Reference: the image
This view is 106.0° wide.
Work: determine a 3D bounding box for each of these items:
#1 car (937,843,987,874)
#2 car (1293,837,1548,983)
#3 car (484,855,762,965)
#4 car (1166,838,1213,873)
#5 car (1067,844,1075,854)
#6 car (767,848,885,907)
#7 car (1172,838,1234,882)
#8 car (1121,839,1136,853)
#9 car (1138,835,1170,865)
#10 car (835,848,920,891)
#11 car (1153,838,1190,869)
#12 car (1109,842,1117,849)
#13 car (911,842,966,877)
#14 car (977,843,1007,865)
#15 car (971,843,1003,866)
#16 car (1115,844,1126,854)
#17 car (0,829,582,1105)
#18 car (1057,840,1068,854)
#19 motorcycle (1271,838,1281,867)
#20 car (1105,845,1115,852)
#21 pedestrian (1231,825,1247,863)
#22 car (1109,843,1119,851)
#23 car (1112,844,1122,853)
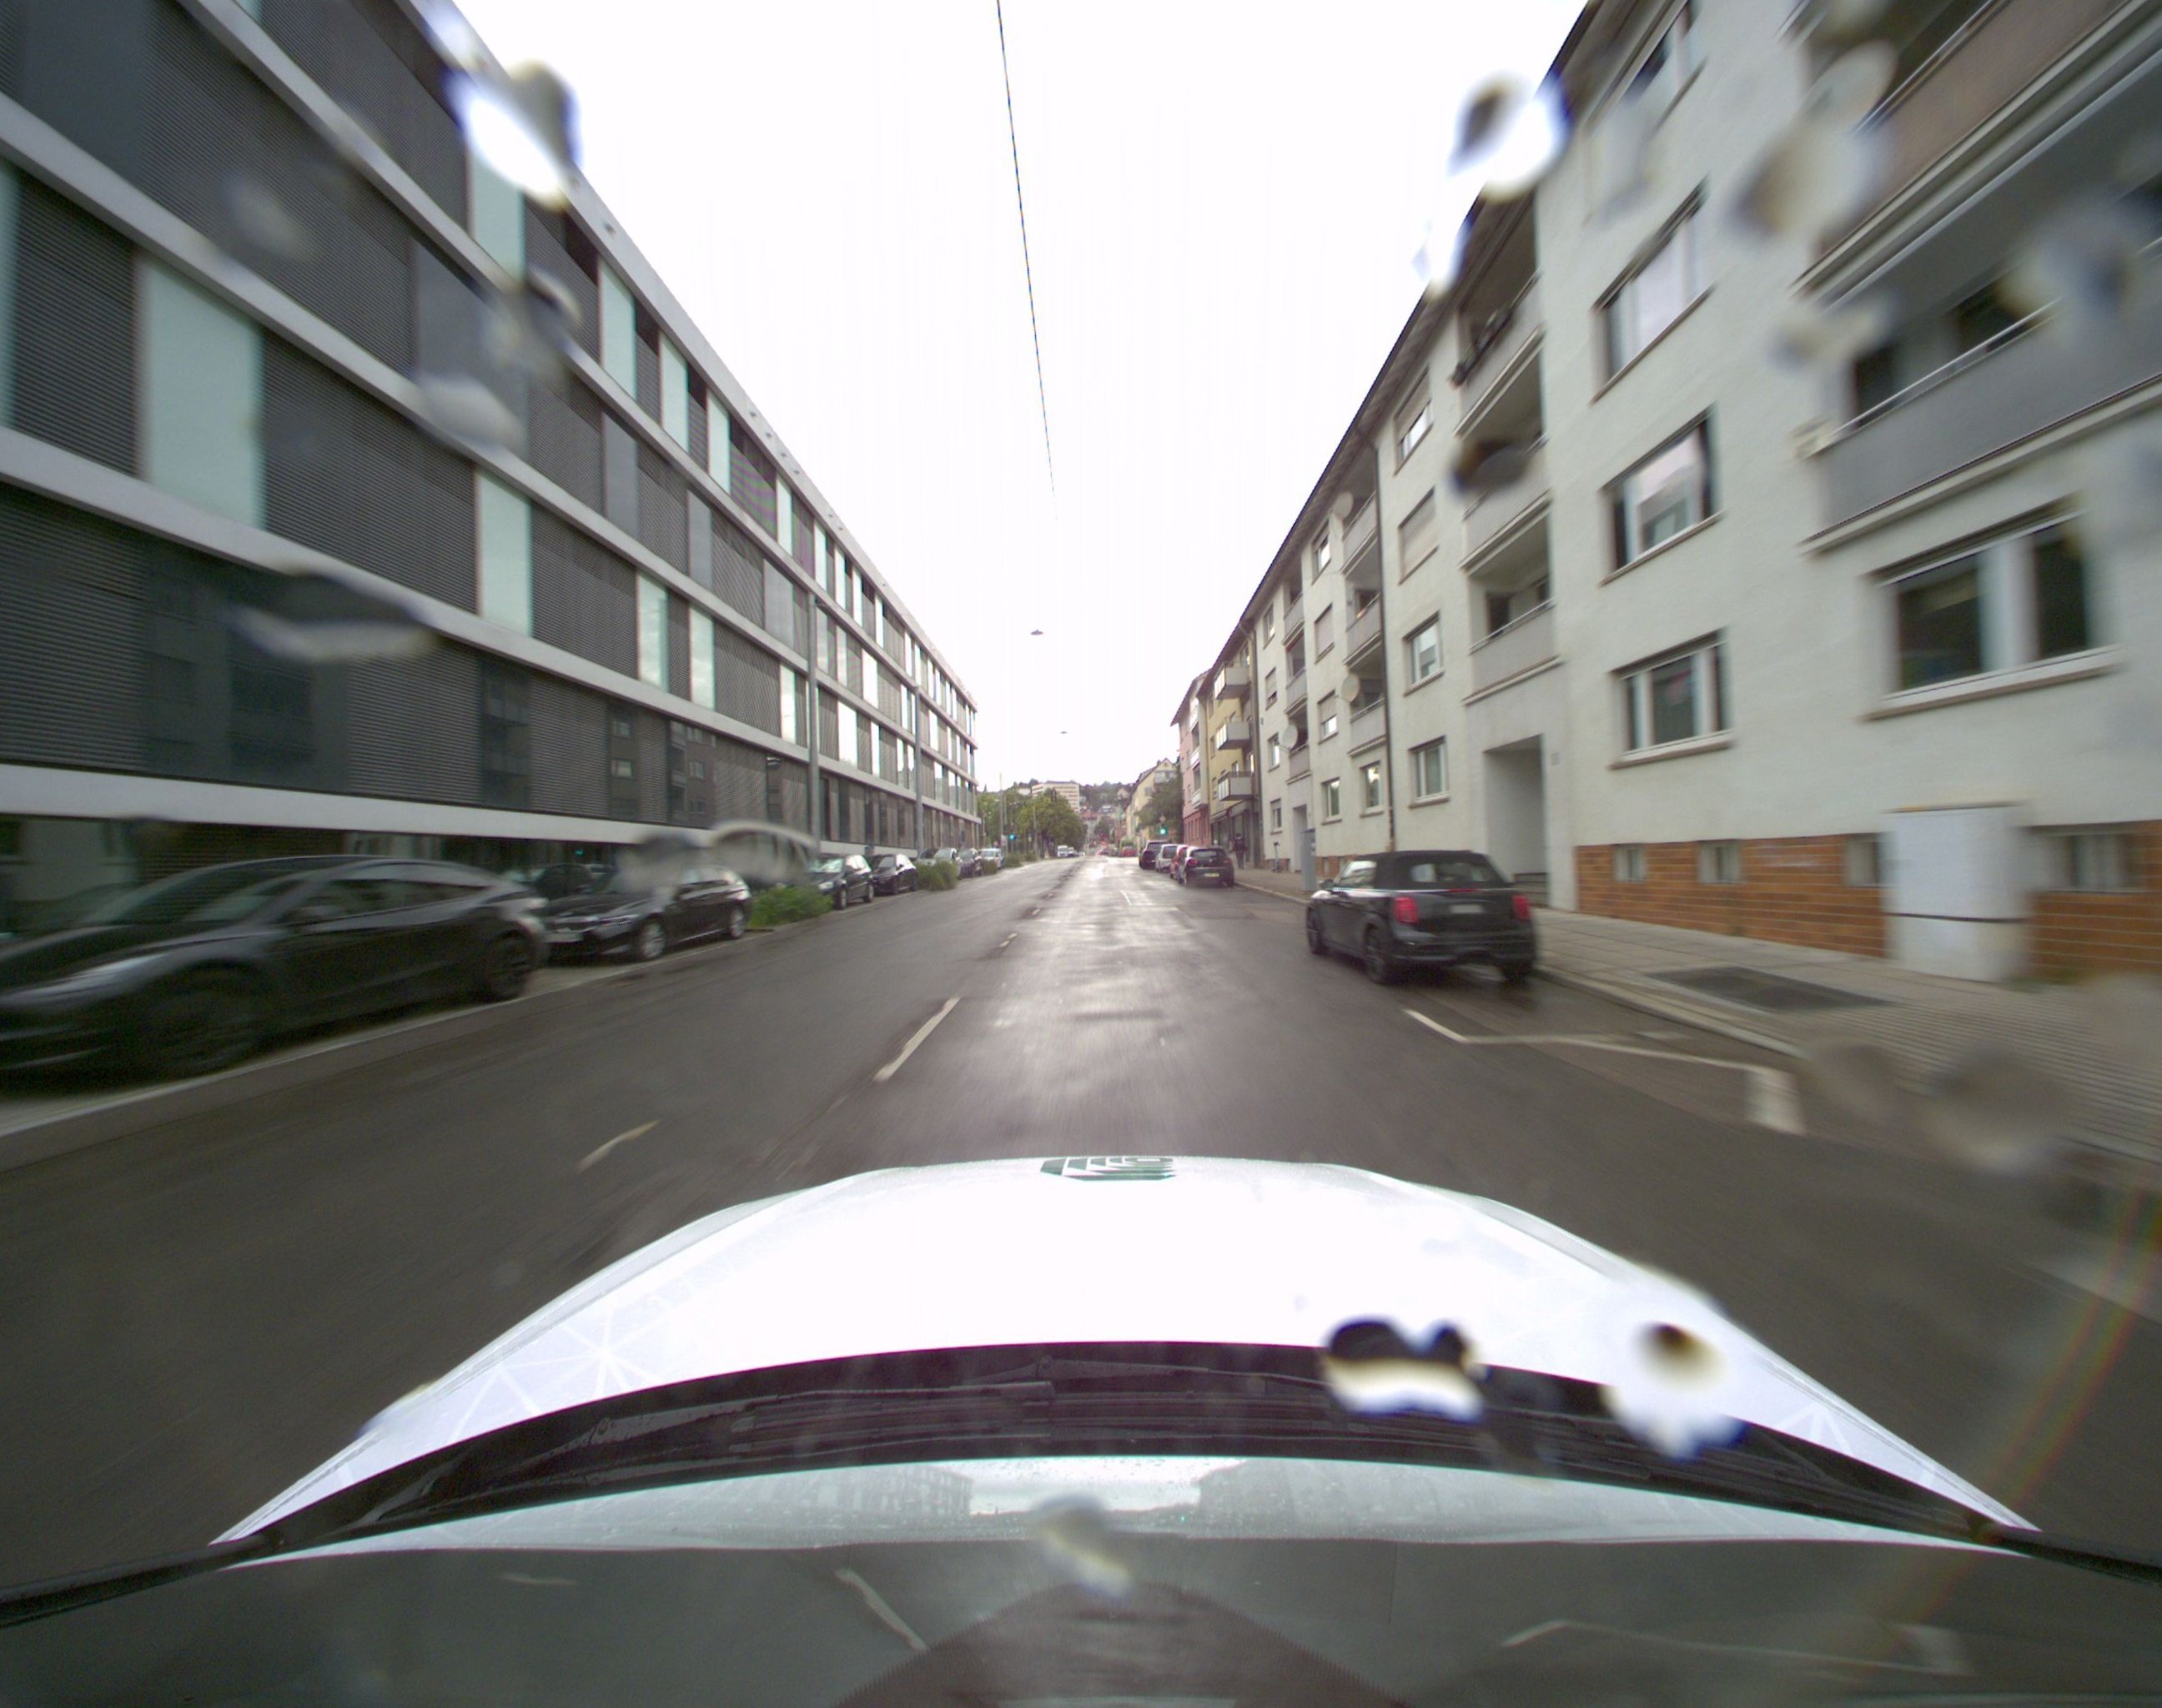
[{"bbox_3d":[-6.519,0.264,45.010,1.793,1.604,4.238,-1,0,4],"label":"car"},{"bbox_3d":[3.990,0.539,10.280,1.667,1.459,3.765,-2,1,0],"label":"car"},{"bbox_3d":[-7.260,0.775,13.630,1.864,1.472,4.742,-1,0,1],"label":"car"},{"bbox_3d":[4.653,0.056,35.250,1.577,1.413,3.654,-1,0,1],"label":"car"},{"bbox_3d":[-2.445,-1.190,196.677,1.862,2.141,4.354,-1,0,-3],"label":"car"},{"bbox_3d":[-7.043,0.591,22.977,1.856,1.489,4.348,-1,0,1],"label":"car"},{"bbox_3d":[4.409,0.197,29.899,1.700,1.454,3.985,-1,0,1],"label":"car"},{"bbox_3d":[5.976,-0.983,102.096,1.858,1.770,4.194,-1,0,4],"label":"car"},{"bbox_3d":[4.473,-0.267,50.251,1.649,1.737,4.180,-2,1,1],"label":"car"},{"bbox_3d":[-7.220,0.493,29.326,1.831,1.396,4.393,-1,0,1],"label":"car"},{"bbox_3d":[4.854,-0.031,43.917,1.629,1.571,3.711,-1,0,1],"label":"car"},{"bbox_3d":[7.516,-2.032,191.241,1.858,1.604,4.194,-1,0,4],"label":"car"},{"bbox_3d":[-6.721,0.235,38.924,1.765,1.534,4.317,-1,1,1],"label":"car"},{"bbox_3d":[-6.676,-0.033,61.254,1.861,1.525,4.195,-1,1,-1],"label":"car"},{"bbox_3d":[-6.422,0.019,55.927,1.589,1.459,3.721,-1,1,3],"label":"car"},{"bbox_3d":[6.673,-0.782,137.435,1.858,1.604,4.194,-1,0,4],"label":"car"},{"bbox_3d":[-7.339,0.722,7.680,1.954,1.750,4.946,-1,0,3],"label":"car"},{"bbox_3d":[-3.571,-1.343,157.817,2.099,2.546,4.748,-1,0,-1],"label":"car"},{"bbox_3d":[7.948,-0.067,33.245,0.251,1.165,0.781,-1,0,4],"label":"motorcycle"},{"bbox_3d":[6.445,-1.223,180.341,1.858,1.604,4.194,-1,0,4],"label":"car"},{"bbox_3d":[7.764,-0.485,40.051,0.636,1.870,0.539,-1,0,3],"label":"pedestrian"},{"bbox_3d":[6.936,-1.380,172.164,1.858,1.604,4.194,-1,0,4],"label":"car"},{"bbox_3d":[6.943,-1.038,156.799,1.858,1.604,4.194,-1,0,4],"label":"car"}]
